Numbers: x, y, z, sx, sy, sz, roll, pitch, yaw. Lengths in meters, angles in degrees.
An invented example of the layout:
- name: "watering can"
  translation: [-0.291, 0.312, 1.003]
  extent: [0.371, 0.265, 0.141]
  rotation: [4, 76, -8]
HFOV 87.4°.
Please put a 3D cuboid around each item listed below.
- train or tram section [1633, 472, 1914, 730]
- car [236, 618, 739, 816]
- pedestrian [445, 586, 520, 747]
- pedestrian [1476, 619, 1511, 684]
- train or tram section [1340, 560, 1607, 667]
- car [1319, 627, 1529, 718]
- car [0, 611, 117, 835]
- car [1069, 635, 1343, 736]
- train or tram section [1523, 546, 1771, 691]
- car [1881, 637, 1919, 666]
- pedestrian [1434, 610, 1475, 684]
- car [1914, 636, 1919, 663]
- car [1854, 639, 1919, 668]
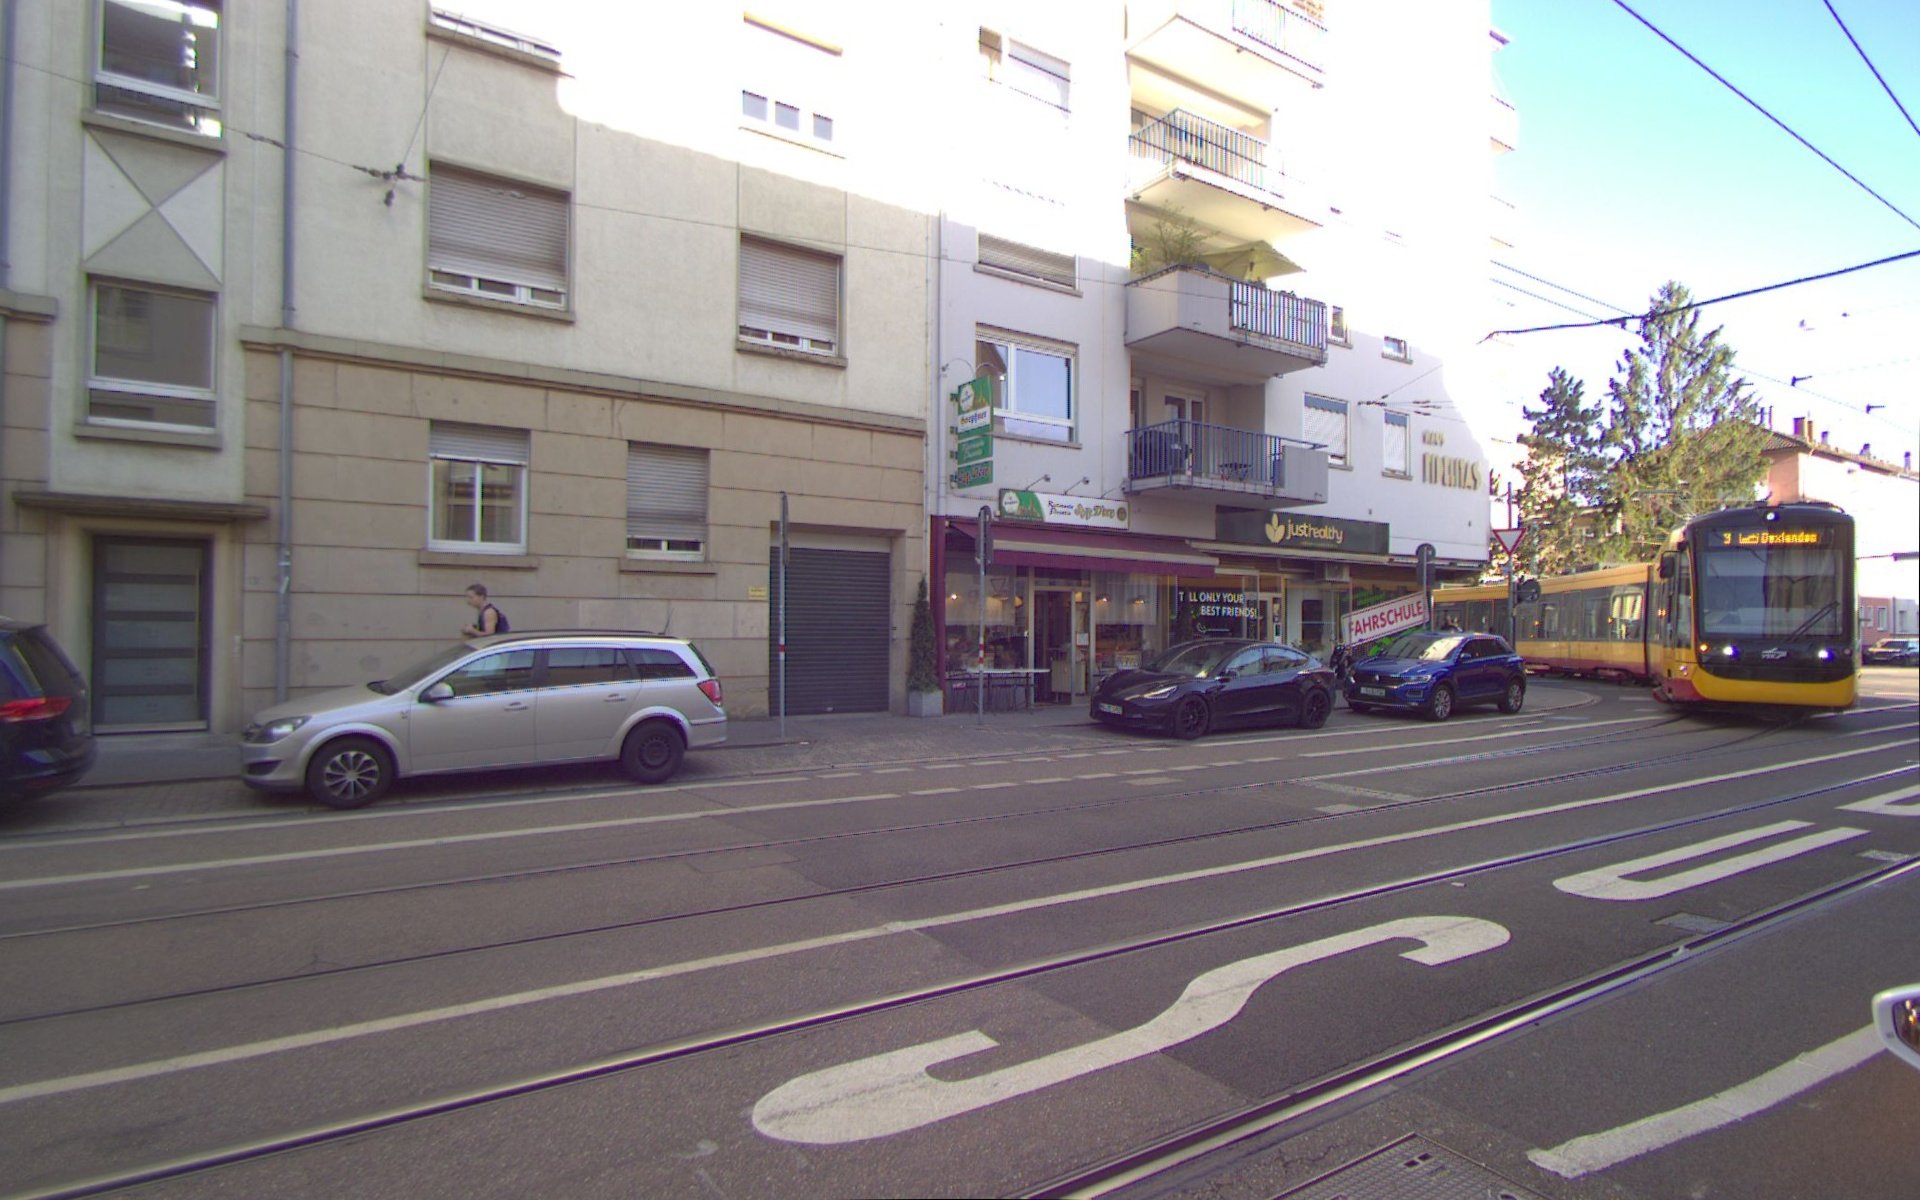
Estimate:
- name: "train or tram section"
  translation: [15.580, 0.173, 20.313]
  extent: [3.020, 3.641, 12.597]
  rotation: [-1, -2, 33]
- name: "car"
  translation: [-4.697, 1.037, 10.317]
  extent: [4.319, 1.580, 1.981]
  rotation: [2, 0, -34]
- name: "pedestrian"
  translation: [-5.713, 0.776, 12.017]
  extent: [0.725, 1.857, 0.595]
  rotation: [2, 0, -30]
- name: "pedestrian"
  translation: [15.202, 1.458, 28.639]
  extent: [0.691, 1.829, 0.568]
  rotation: [2, 0, -30]
- name: "train or tram section"
  translation: [20.686, 0.488, 42.245]
  extent: [2.702, 3.680, 14.253]
  rotation: [2, 0, -5]
- name: "car"
  translation: [8.875, 1.305, 19.133]
  extent: [4.030, 1.552, 1.858]
  rotation: [1, -2, -34]
- name: "car"
  translation: [-8.974, 0.873, 7.215]
  extent: [4.249, 1.606, 1.893]
  rotation: [2, 0, -35]
- name: "car"
  translation: [4.003, 1.274, 16.096]
  extent: [4.382, 1.405, 1.810]
  rotation: [1, -2, -34]
- name: "train or tram section"
  translation: [20.229, 0.502, 30.421]
  extent: [2.777, 3.679, 9.089]
  rotation: [2, 0, 11]
- name: "car"
  translation: [53.690, 2.902, 56.354]
  extent: [4.250, 1.518, 1.806]
  rotation: [2, 0, -30]
- name: "pedestrian"
  translation: [14.034, 1.316, 28.536]
  extent: [0.688, 2.040, 0.764]
  rotation: [2, 0, -35]
- name: "car"
  translation: [58.402, 2.971, 59.479]
  extent: [4.103, 1.531, 1.778]
  rotation: [2, 0, -31]
- name: "car"
  translation: [49.622, 2.835, 53.597]
  extent: [3.949, 1.440, 1.784]
  rotation: [2, 0, -31]
